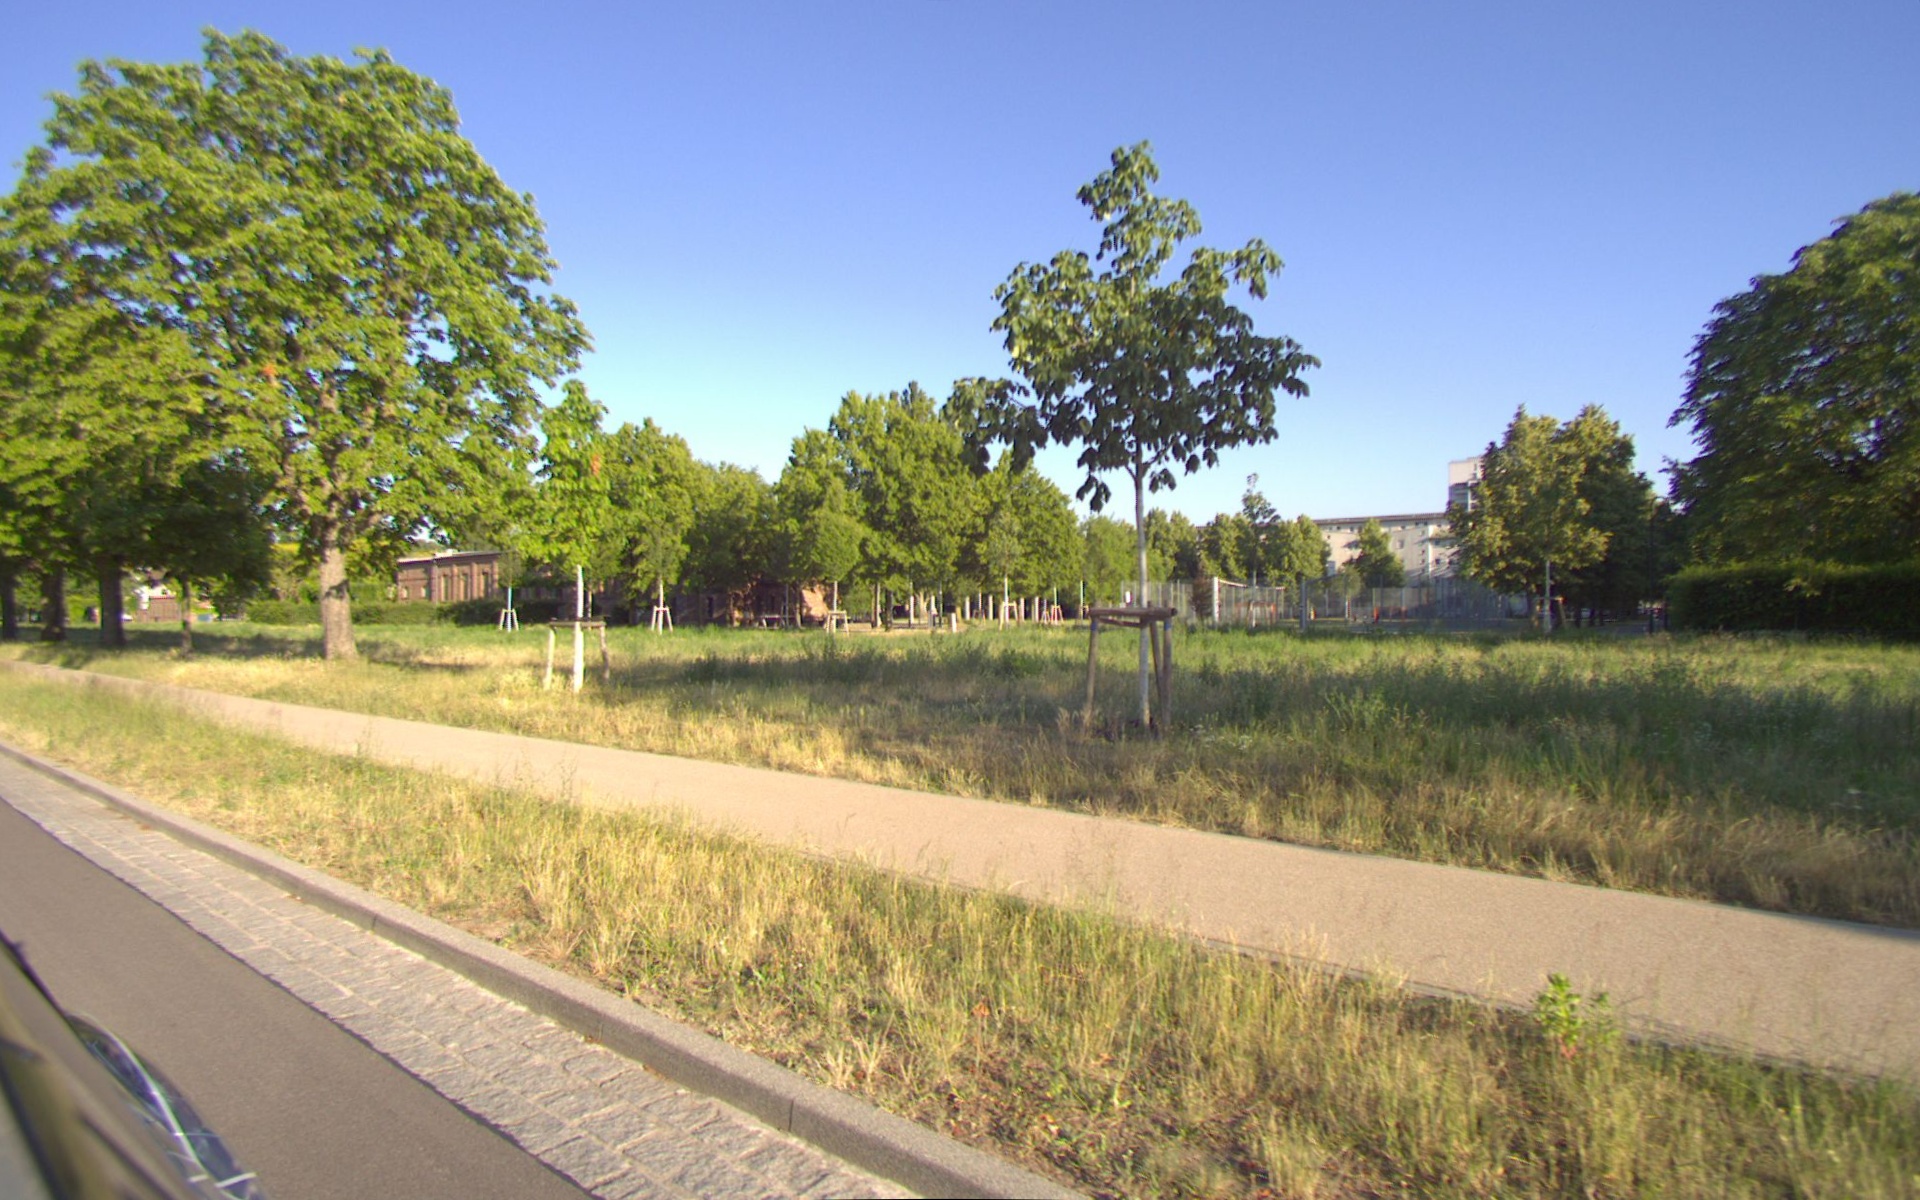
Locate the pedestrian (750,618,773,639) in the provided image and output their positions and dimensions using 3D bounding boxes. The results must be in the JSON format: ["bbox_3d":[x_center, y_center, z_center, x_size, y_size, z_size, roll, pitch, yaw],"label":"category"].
[{"bbox_3d":[-12.979,1.852,66.061,0.980,1.305,1.104,-1,-1,31],"label":"pedestrian"}]

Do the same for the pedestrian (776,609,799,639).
[{"bbox_3d":[-10.936,1.545,64.226,1.099,1.877,0.984,0,-1,-44],"label":"pedestrian"}]

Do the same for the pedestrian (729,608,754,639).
[{"bbox_3d":[-13.274,1.427,61.519,1.099,1.877,0.984,0,-1,-44],"label":"pedestrian"}]
